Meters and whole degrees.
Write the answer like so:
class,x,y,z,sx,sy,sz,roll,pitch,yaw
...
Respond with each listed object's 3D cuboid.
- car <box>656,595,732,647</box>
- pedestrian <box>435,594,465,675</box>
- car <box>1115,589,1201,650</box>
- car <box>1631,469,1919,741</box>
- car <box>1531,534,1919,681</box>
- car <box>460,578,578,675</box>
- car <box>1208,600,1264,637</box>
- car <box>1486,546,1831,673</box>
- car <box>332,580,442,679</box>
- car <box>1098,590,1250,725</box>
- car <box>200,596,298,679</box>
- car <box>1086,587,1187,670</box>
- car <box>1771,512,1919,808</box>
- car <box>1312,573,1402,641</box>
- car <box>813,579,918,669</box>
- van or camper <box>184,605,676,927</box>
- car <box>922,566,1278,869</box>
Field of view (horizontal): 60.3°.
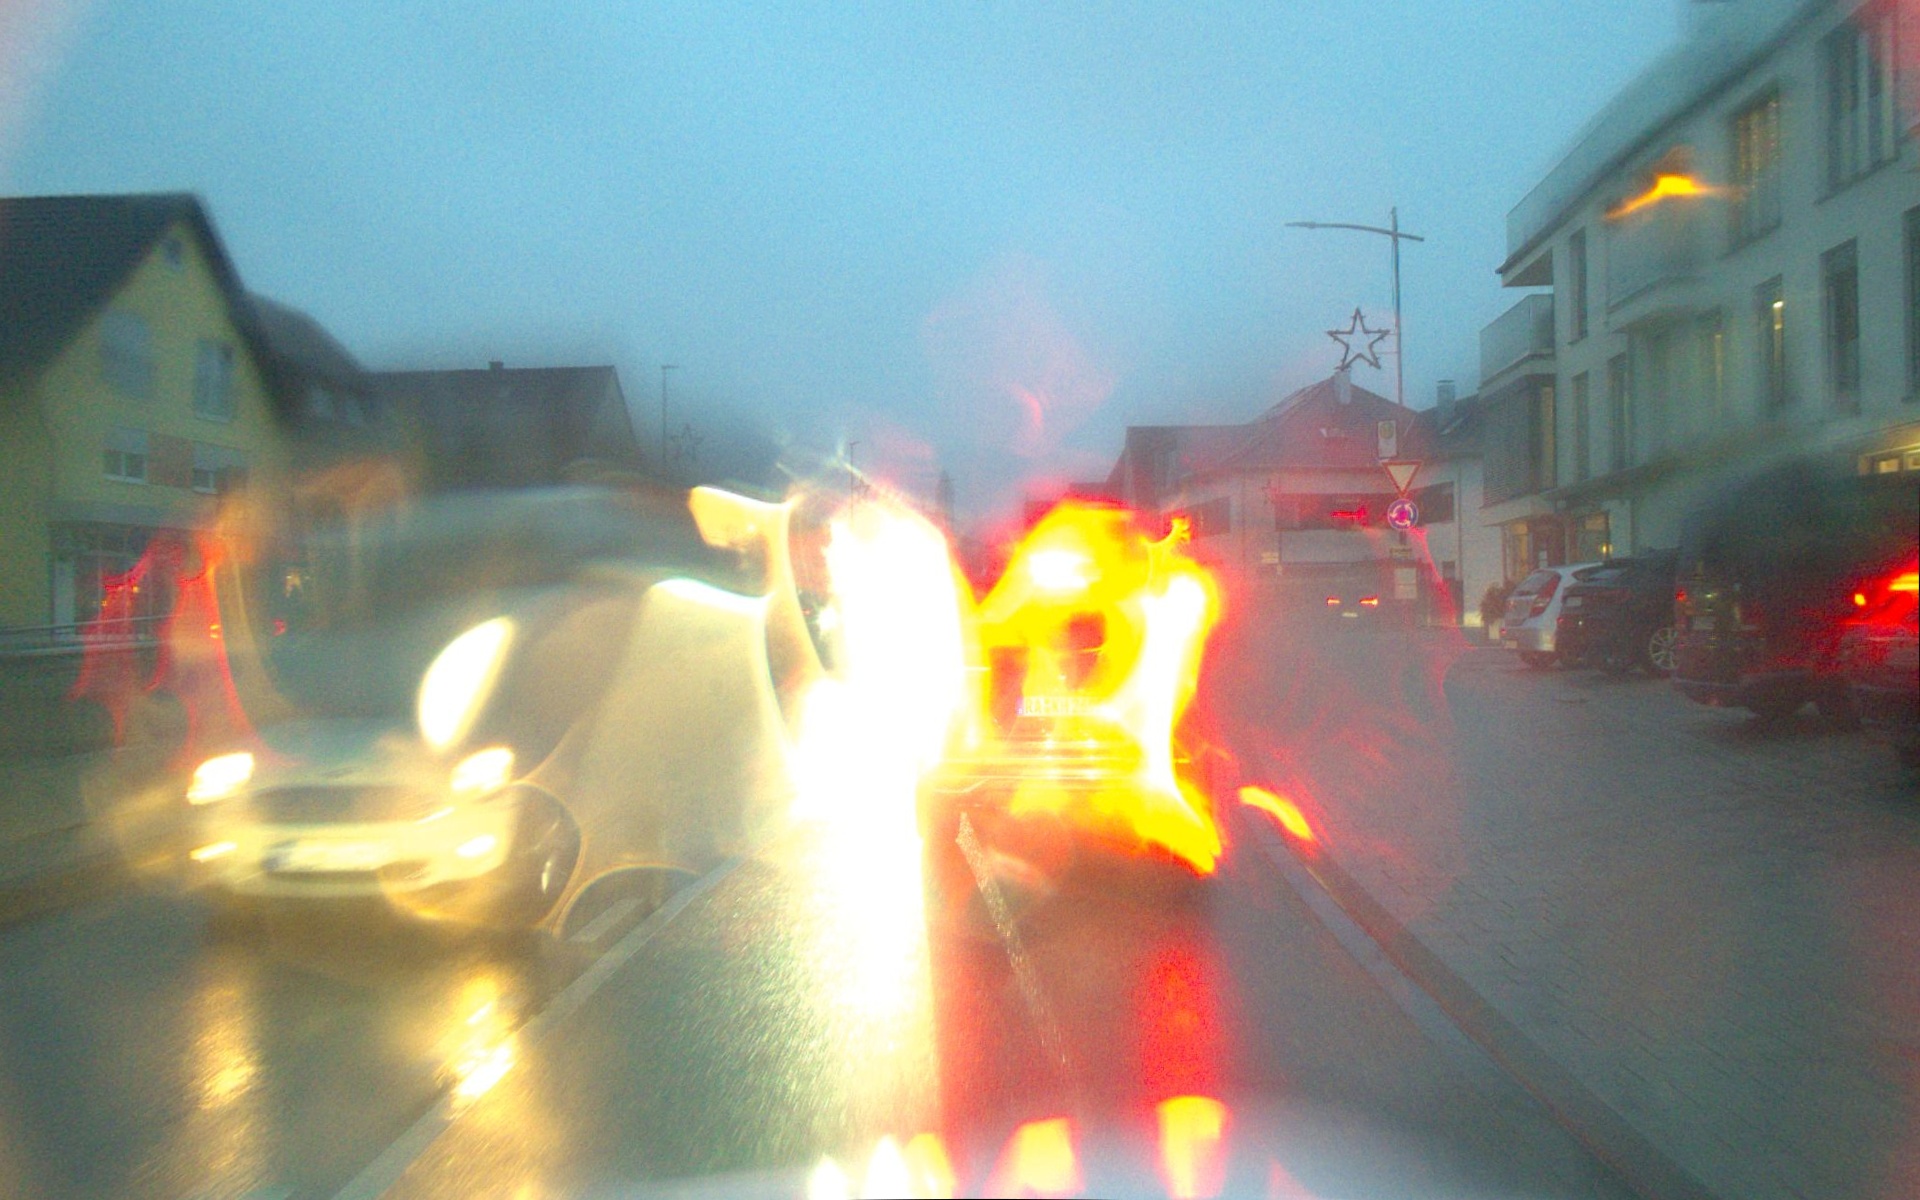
class,x,y,z,sx,sy,sz,roll,pitch,yaw
car,-10.078,0.773,62.865,1.952,1.442,4.005,-3,5,3
pedestrian,-11.063,0.743,35.869,0.489,1.731,0.708,-2,0,-22
car,4.930,0.451,41.647,1.951,1.416,4.002,-1,0,4
car,8.288,-0.109,13.752,4.469,1.953,1.950,-6,-1,3
car,9.500,0.091,20.548,4.120,1.485,1.792,-4,0,-1
car,-9.752,0.544,36.365,2.009,1.959,4.029,-1,0,-22
car,11.860,0.815,71.311,1.534,1.437,3.598,-5,-1,-4
car,9.899,0.132,23.652,4.120,1.485,1.792,-4,0,-1
car,-12.352,0.581,35.515,2.009,1.959,4.029,-1,0,-22
car,2.539,0.626,20.268,1.647,1.478,4.003,-1,0,5
car,-15.210,0.759,35.538,1.796,1.641,4.029,-1,0,-22
car,3.361,0.489,31.547,1.776,1.436,4.003,1,1,6
car,7.511,0.110,10.117,4.096,1.666,1.803,-8,1,-3
car,13.510,0.196,56.095,2.114,2.025,4.498,-4,0,23
car,-1.837,0.443,33.373,1.701,1.682,4.001,-1,0,2
van or camper,-2.663,0.747,9.101,1.530,1.379,3.422,-1,0,1
car,0.945,0.615,11.163,1.923,1.622,4.316,1,1,5
